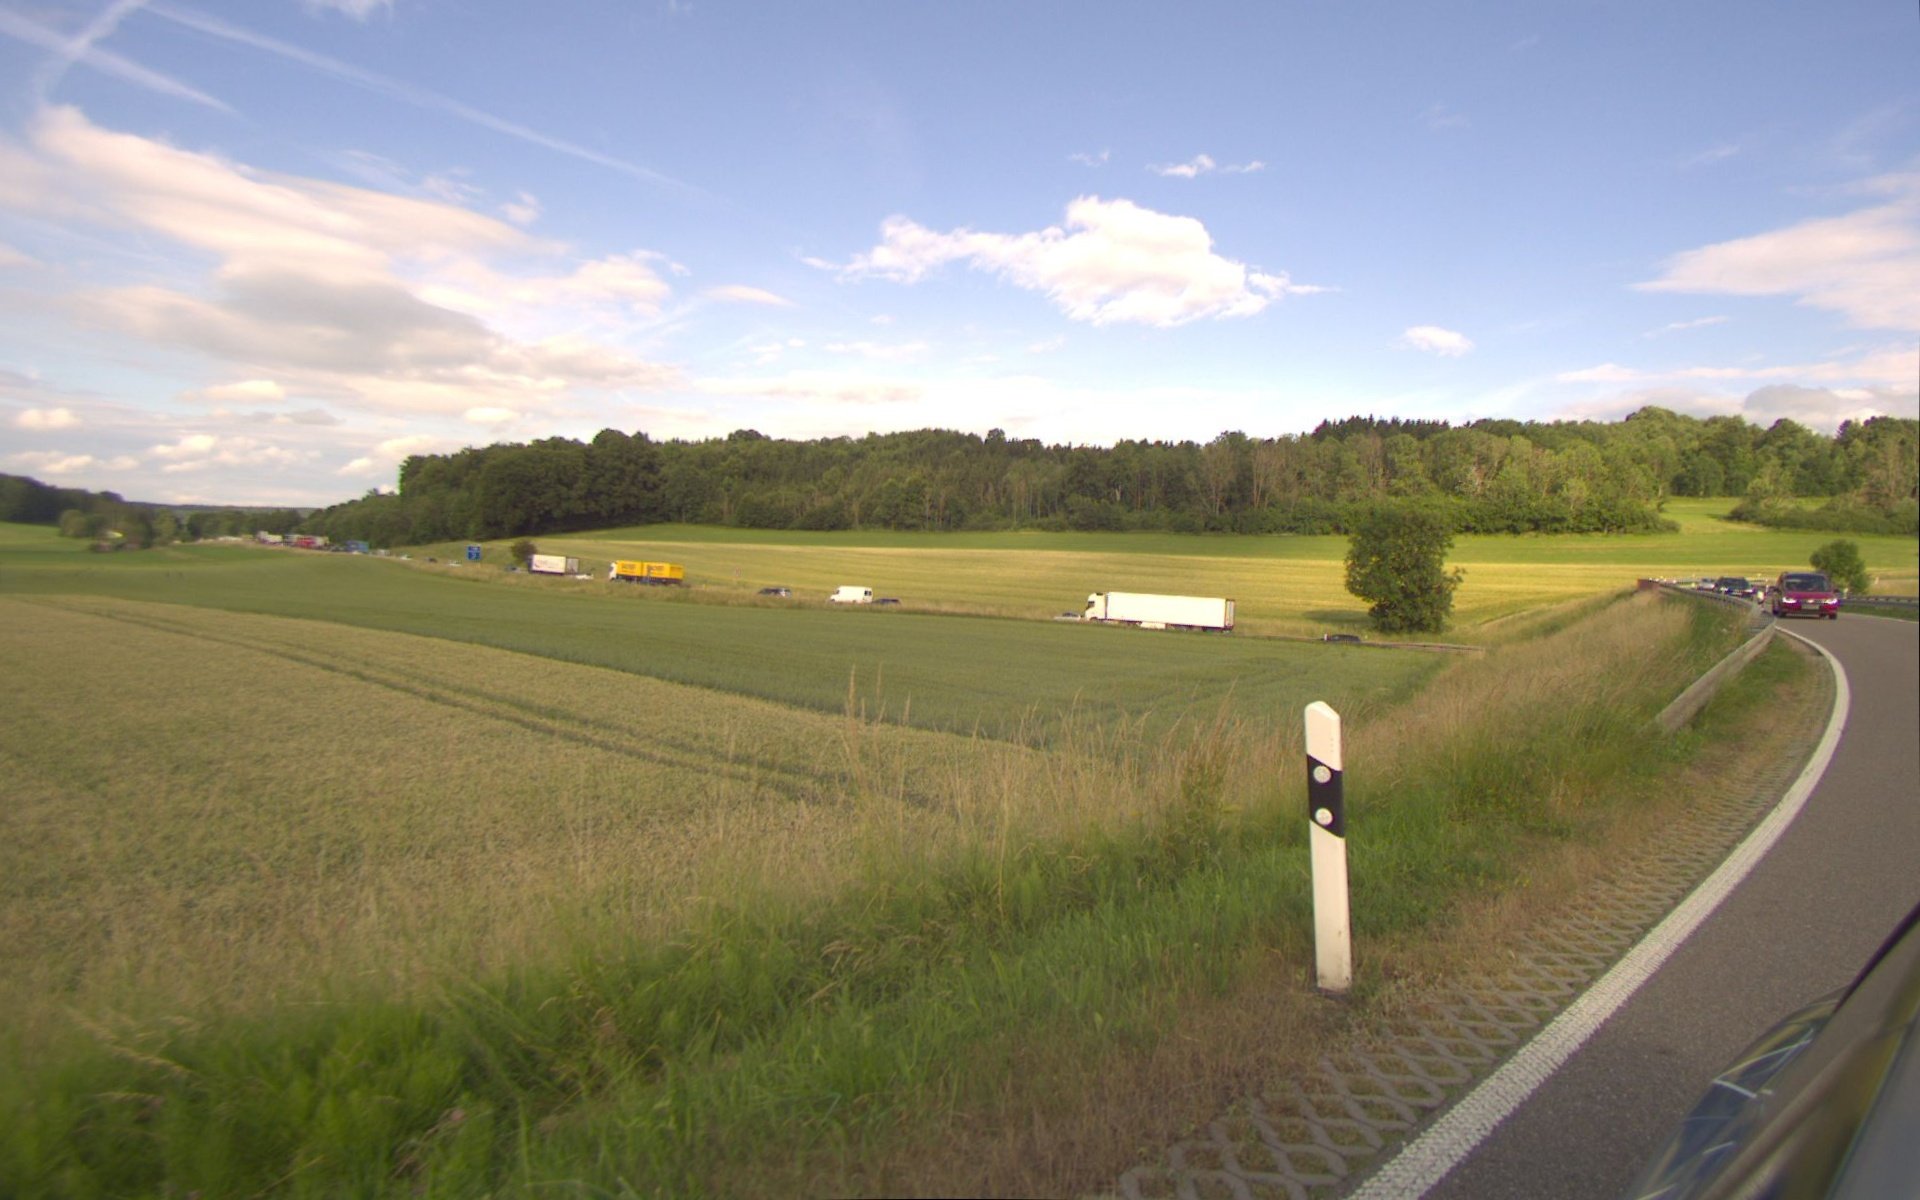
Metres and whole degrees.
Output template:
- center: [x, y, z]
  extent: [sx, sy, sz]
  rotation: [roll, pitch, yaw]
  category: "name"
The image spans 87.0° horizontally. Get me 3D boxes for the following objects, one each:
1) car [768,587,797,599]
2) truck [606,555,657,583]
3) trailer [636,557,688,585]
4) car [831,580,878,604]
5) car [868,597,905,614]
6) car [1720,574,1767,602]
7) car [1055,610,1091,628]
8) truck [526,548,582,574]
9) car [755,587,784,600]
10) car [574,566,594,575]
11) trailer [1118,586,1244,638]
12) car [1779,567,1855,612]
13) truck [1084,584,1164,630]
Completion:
- center: [-25.382, -0.957, 144.590]
  extent: [3.978, 1.487, 1.779]
  rotation: [4, 1, 37]
  category: "car"
- center: [-55.293, -5.313, 170.139]
  extent: [9.765, 4.107, 3.782]
  rotation: [5, 6, 41]
  category: "truck"
- center: [-48.266, -4.728, 163.966]
  extent: [9.093, 4.107, 3.783]
  rotation: [4, 6, 41]
  category: "trailer"
- center: [-14.051, -1.092, 134.838]
  extent: [6.090, 2.617, 2.342]
  rotation: [5, 0, 36]
  category: "car"
- center: [-8.954, 0.624, 122.774]
  extent: [4.345, 1.722, 1.757]
  rotation: [5, 5, 34]
  category: "car"
- center: [49.243, -0.756, 63.683]
  extent: [1.808, 1.631, 3.956]
  rotation: [3, 3, 31]
  category: "car"
- center: [11.974, 1.980, 107.385]
  extent: [3.445, 1.662, 1.741]
  rotation: [1, 5, 35]
  category: "car"
- center: [-76.263, -7.424, 189.813]
  extent: [14.379, 4.041, 4.020]
  rotation: [6, 8, 43]
  category: "truck"
- center: [-25.816, -0.914, 137.084]
  extent: [3.976, 1.538, 1.661]
  rotation: [3, 3, 36]
  category: "car"
- center: [-62.852, -4.948, 169.064]
  extent: [3.308, 1.411, 1.588]
  rotation: [3, 3, 36]
  category: "car"
- center: [23.164, 1.199, 106.579]
  extent: [12.653, 4.523, 2.993]
  rotation: [4, 1, 36]
  category: "trailer"
- center: [34.003, -0.428, 40.235]
  extent: [1.809, 1.676, 3.952]
  rotation: [0, 0, 33]
  category: "car"
- center: [17.865, 0.737, 110.429]
  extent: [8.009, 4.523, 2.990]
  rotation: [4, 1, 36]
  category: "truck"
